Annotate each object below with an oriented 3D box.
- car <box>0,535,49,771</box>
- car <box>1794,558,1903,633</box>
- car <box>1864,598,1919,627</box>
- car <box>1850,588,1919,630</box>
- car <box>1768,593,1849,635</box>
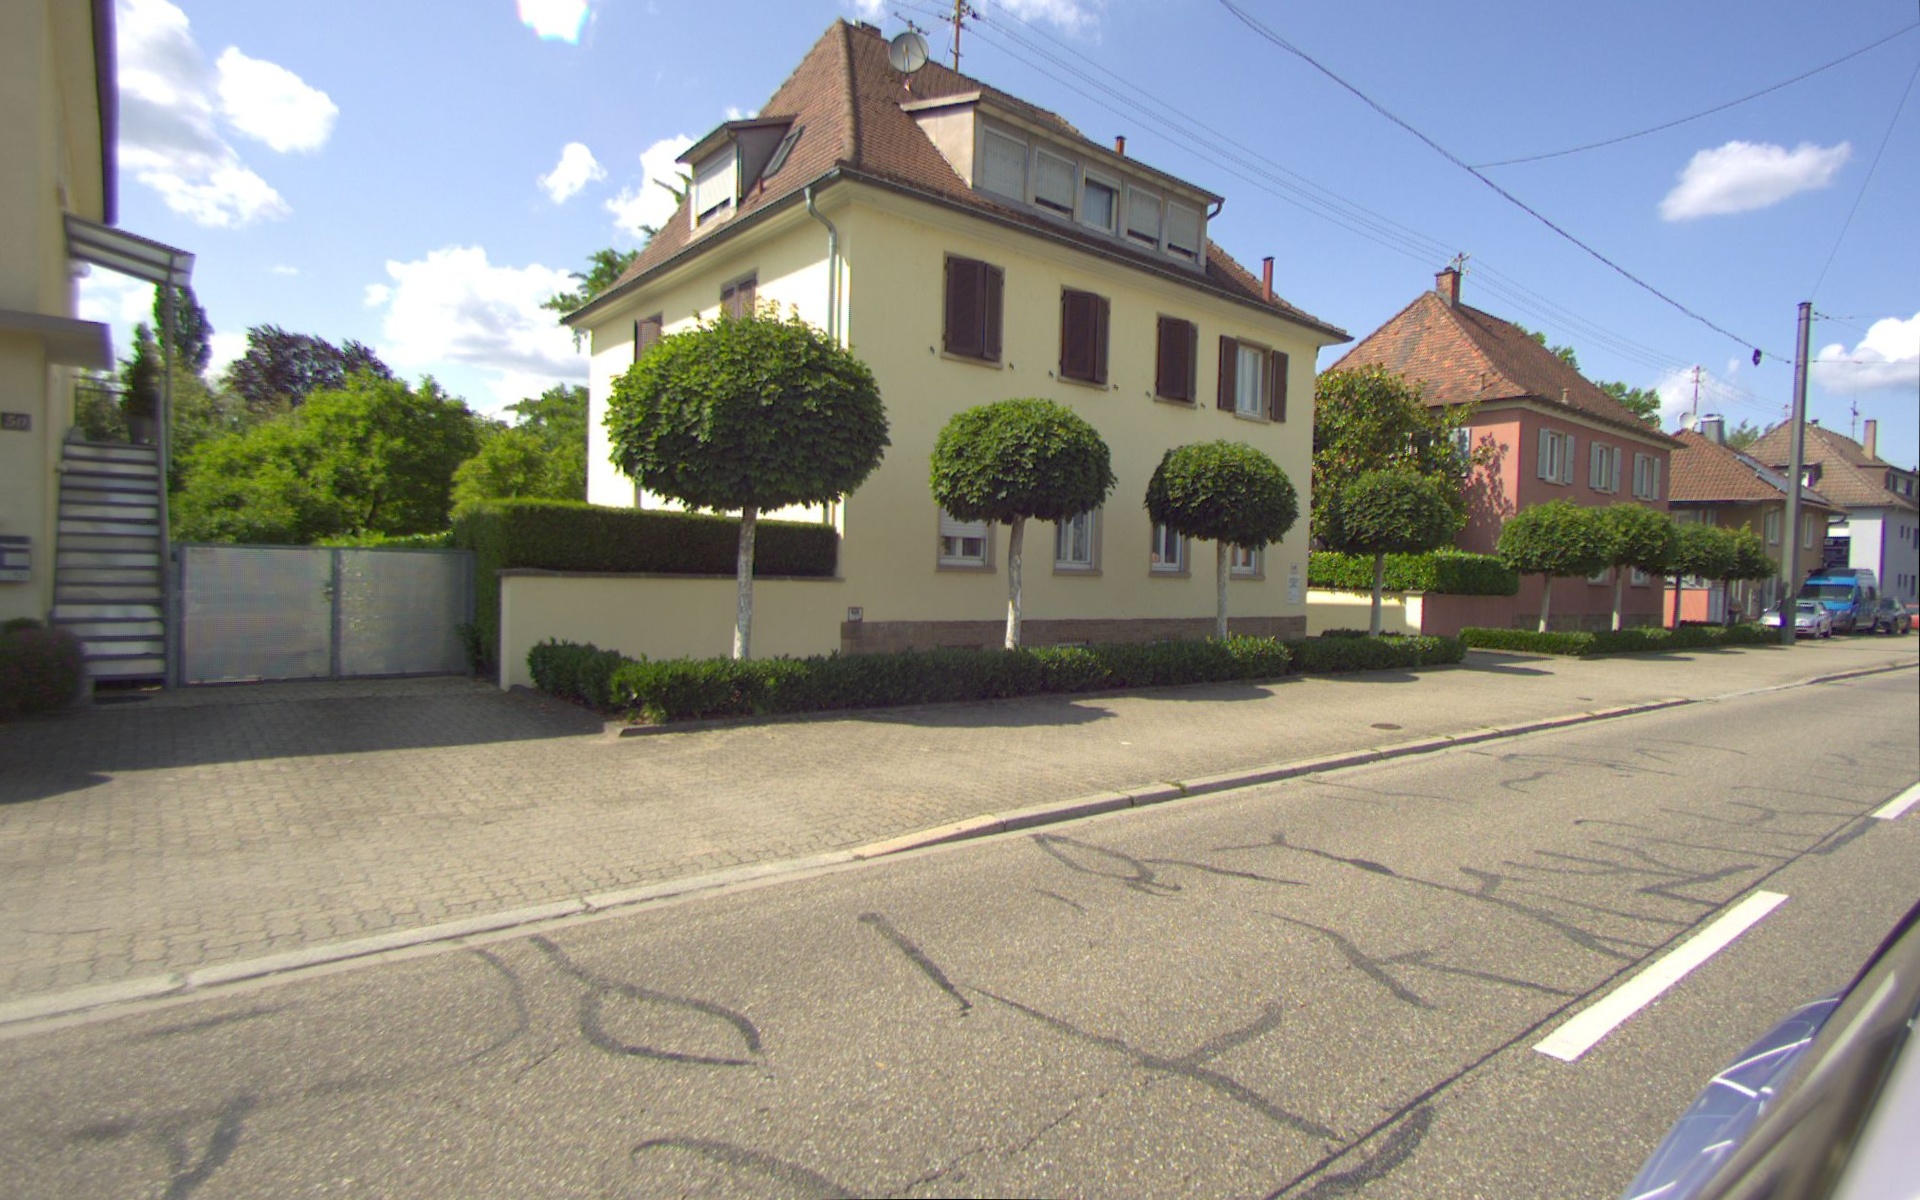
[{"bbox_3d":[-8.075,0.225,5.959,4.026,1.476,1.911,3,1,9],"label":"car"},{"bbox_3d":[37.524,-0.210,42.697,6.127,2.967,2.158,0,1,-36],"label":"car"},{"bbox_3d":[50.006,0.664,53.068,1.695,1.397,3.659,0,2,-37],"label":"car"},{"bbox_3d":[42.545,0.407,46.205,4.773,1.732,1.843,1,3,-37],"label":"car"},{"bbox_3d":[32.245,0.494,38.432,4.274,1.426,1.652,0,3,-41],"label":"car"}]
